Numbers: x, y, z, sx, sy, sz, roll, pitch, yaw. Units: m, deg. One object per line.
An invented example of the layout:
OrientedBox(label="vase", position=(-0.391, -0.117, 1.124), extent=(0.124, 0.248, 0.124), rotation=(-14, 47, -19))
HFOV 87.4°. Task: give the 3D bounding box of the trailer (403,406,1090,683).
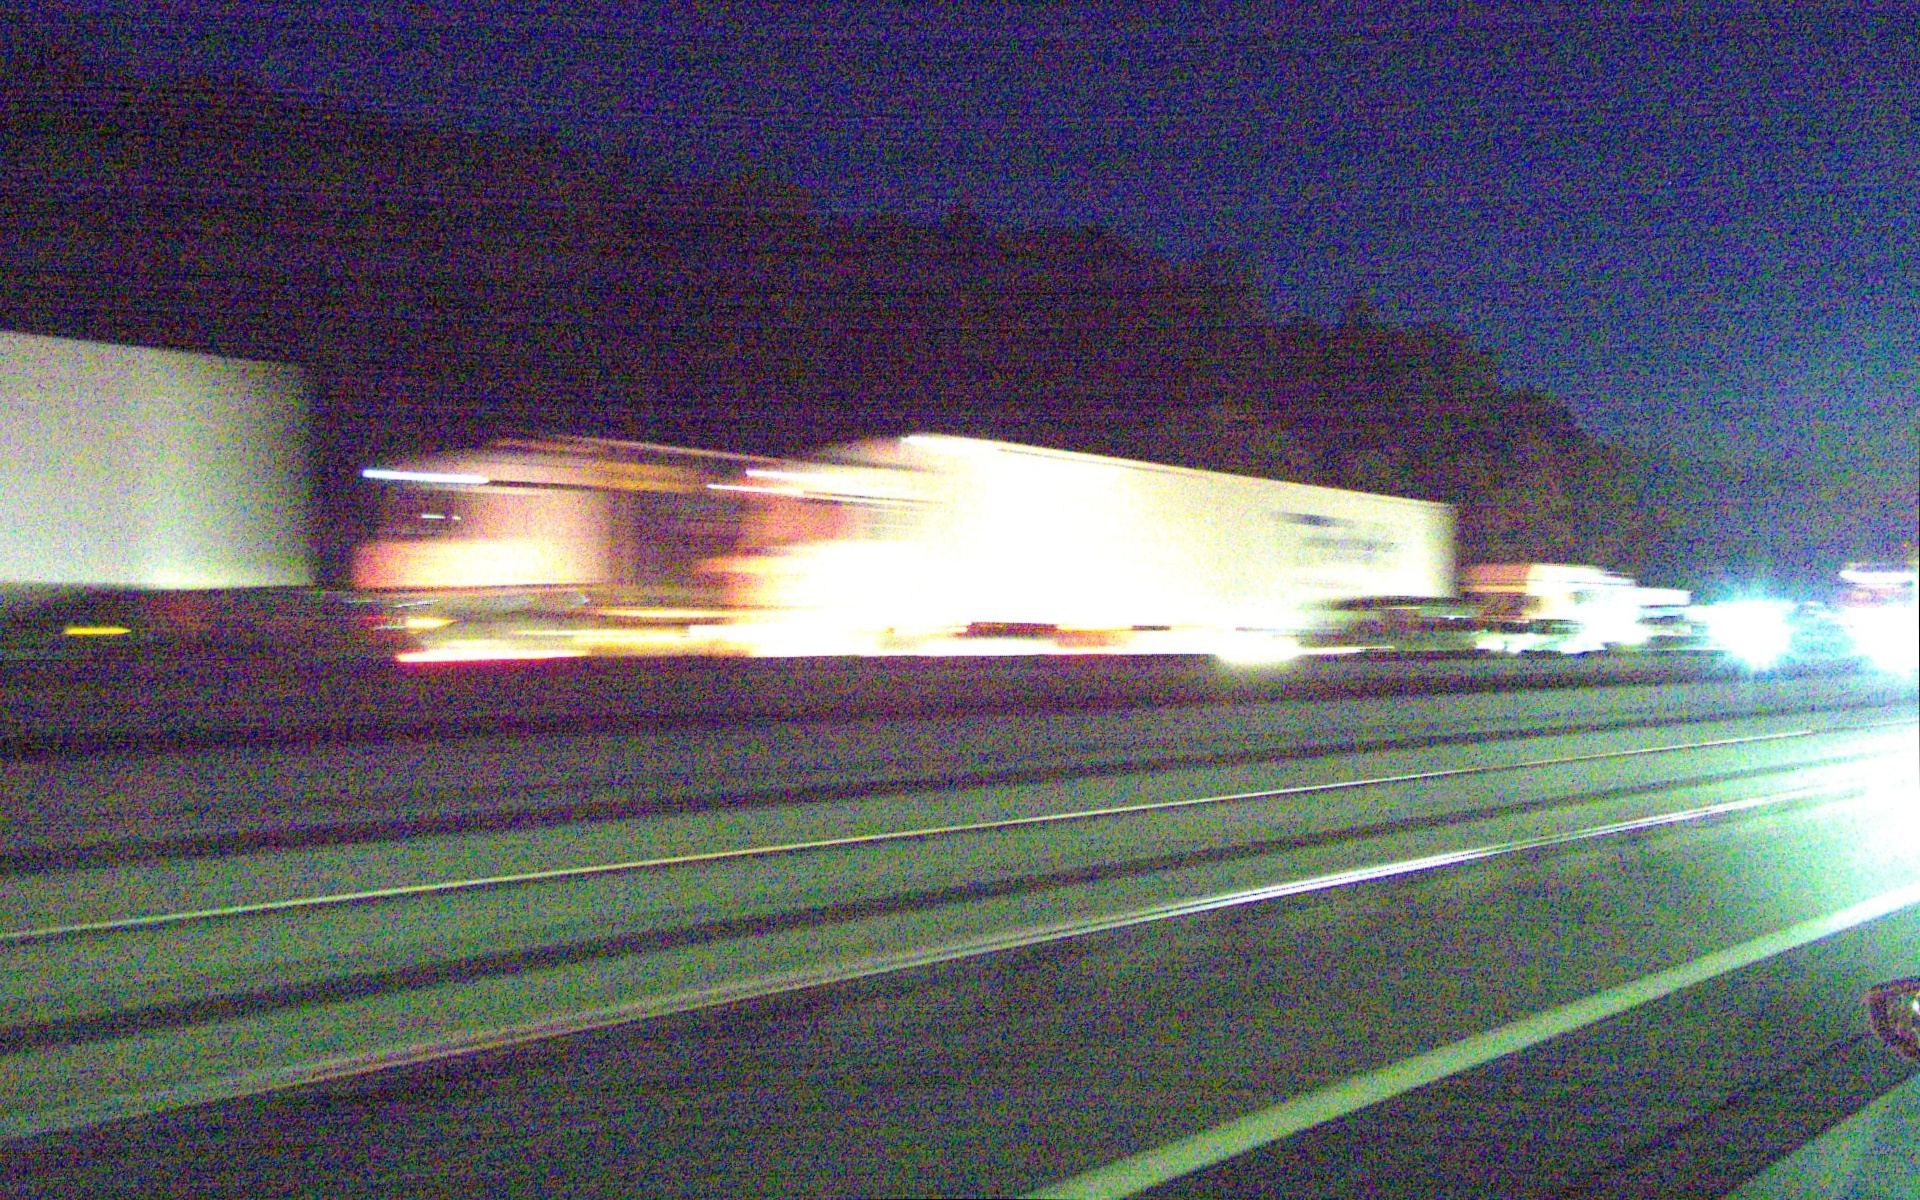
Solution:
OrientedBox(label="trailer", position=(-3.451, -0.600, 19.937), extent=(13.134, 4.226, 2.825), rotation=(2, -2, -32))

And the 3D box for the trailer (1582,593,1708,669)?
OrientedBox(label="trailer", position=(26.577, 1.184, 38.959), extent=(4.940, 2.781, 2.349), rotation=(2, 0, -34))

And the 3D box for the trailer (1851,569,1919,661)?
OrientedBox(label="trailer", position=(43.947, 0.716, 46.547), extent=(8.669, 3.969, 2.796), rotation=(1, 0, -41))

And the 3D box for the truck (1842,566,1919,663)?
OrientedBox(label="truck", position=(40.705, 0.629, 43.743), extent=(4.896, 3.968, 2.803), rotation=(1, 0, -41))

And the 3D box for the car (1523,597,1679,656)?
OrientedBox(label="car", position=(18.328, 0.774, 28.655), extent=(4.815, 1.512, 1.893), rotation=(3, 0, -33))

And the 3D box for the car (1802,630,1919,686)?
OrientedBox(label="car", position=(28.038, 1.777, 31.086), extent=(4.820, 1.512, 1.891), rotation=(3, 0, -36))

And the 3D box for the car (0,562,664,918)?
OrientedBox(label="car", position=(-4.202, 0.594, 5.257), extent=(4.805, 1.512, 1.897), rotation=(2, 0, -27))

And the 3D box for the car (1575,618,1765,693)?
OrientedBox(label="car", position=(16.471, 1.272, 23.238), extent=(4.815, 1.512, 1.893), rotation=(3, 0, -33))

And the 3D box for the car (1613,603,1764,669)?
OrientedBox(label="car", position=(23.164, 1.161, 31.897), extent=(4.960, 1.911, 1.895), rotation=(2, 0, -29))

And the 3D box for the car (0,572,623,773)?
OrientedBox(label="car", position=(-6.002, 0.620, 9.346), extent=(5.192, 1.512, 1.897), rotation=(2, 0, -27))

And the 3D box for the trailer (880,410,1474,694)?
OrientedBox(label="trailer", position=(5.352, -0.500, 21.050), extent=(14.365, 4.523, 2.824), rotation=(2, -2, -33))

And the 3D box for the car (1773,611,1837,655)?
OrientedBox(label="car", position=(42.746, 1.654, 50.793), extent=(4.475, 2.106, 1.699), rotation=(2, 0, -40))

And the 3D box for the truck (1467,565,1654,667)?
OrientedBox(label="truck", position=(21.255, 0.613, 35.359), extent=(7.829, 3.261, 2.479), rotation=(2, 0, -34))

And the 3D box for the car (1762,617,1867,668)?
OrientedBox(label="car", position=(33.493, 1.665, 39.335), extent=(4.273, 1.834, 1.982), rotation=(2, 0, -33))

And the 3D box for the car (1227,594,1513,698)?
OrientedBox(label="car", position=(6.959, 0.764, 16.910), extent=(4.811, 1.512, 1.894), rotation=(3, 0, -30))

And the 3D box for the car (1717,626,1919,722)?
OrientedBox(label="car", position=(16.036, 1.333, 18.618), extent=(4.815, 1.512, 1.616), rotation=(3, 0, -33))

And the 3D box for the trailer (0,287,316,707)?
OrientedBox(label="trailer", position=(-14.431, -1.177, 8.994), extent=(14.354, 4.240, 2.861), rotation=(2, 0, -31))

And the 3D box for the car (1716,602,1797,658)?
OrientedBox(label="car", position=(36.619, 1.379, 46.142), extent=(4.475, 2.431, 1.977), rotation=(2, 0, -40))

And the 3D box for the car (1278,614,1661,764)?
OrientedBox(label="car", position=(6.414, 1.033, 12.503), extent=(4.810, 1.512, 1.895), rotation=(3, 0, -30))

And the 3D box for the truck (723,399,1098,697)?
OrientedBox(label="truck", position=(-0.757, -0.638, 17.283), extent=(5.892, 4.325, 2.602), rotation=(2, -2, -32))
